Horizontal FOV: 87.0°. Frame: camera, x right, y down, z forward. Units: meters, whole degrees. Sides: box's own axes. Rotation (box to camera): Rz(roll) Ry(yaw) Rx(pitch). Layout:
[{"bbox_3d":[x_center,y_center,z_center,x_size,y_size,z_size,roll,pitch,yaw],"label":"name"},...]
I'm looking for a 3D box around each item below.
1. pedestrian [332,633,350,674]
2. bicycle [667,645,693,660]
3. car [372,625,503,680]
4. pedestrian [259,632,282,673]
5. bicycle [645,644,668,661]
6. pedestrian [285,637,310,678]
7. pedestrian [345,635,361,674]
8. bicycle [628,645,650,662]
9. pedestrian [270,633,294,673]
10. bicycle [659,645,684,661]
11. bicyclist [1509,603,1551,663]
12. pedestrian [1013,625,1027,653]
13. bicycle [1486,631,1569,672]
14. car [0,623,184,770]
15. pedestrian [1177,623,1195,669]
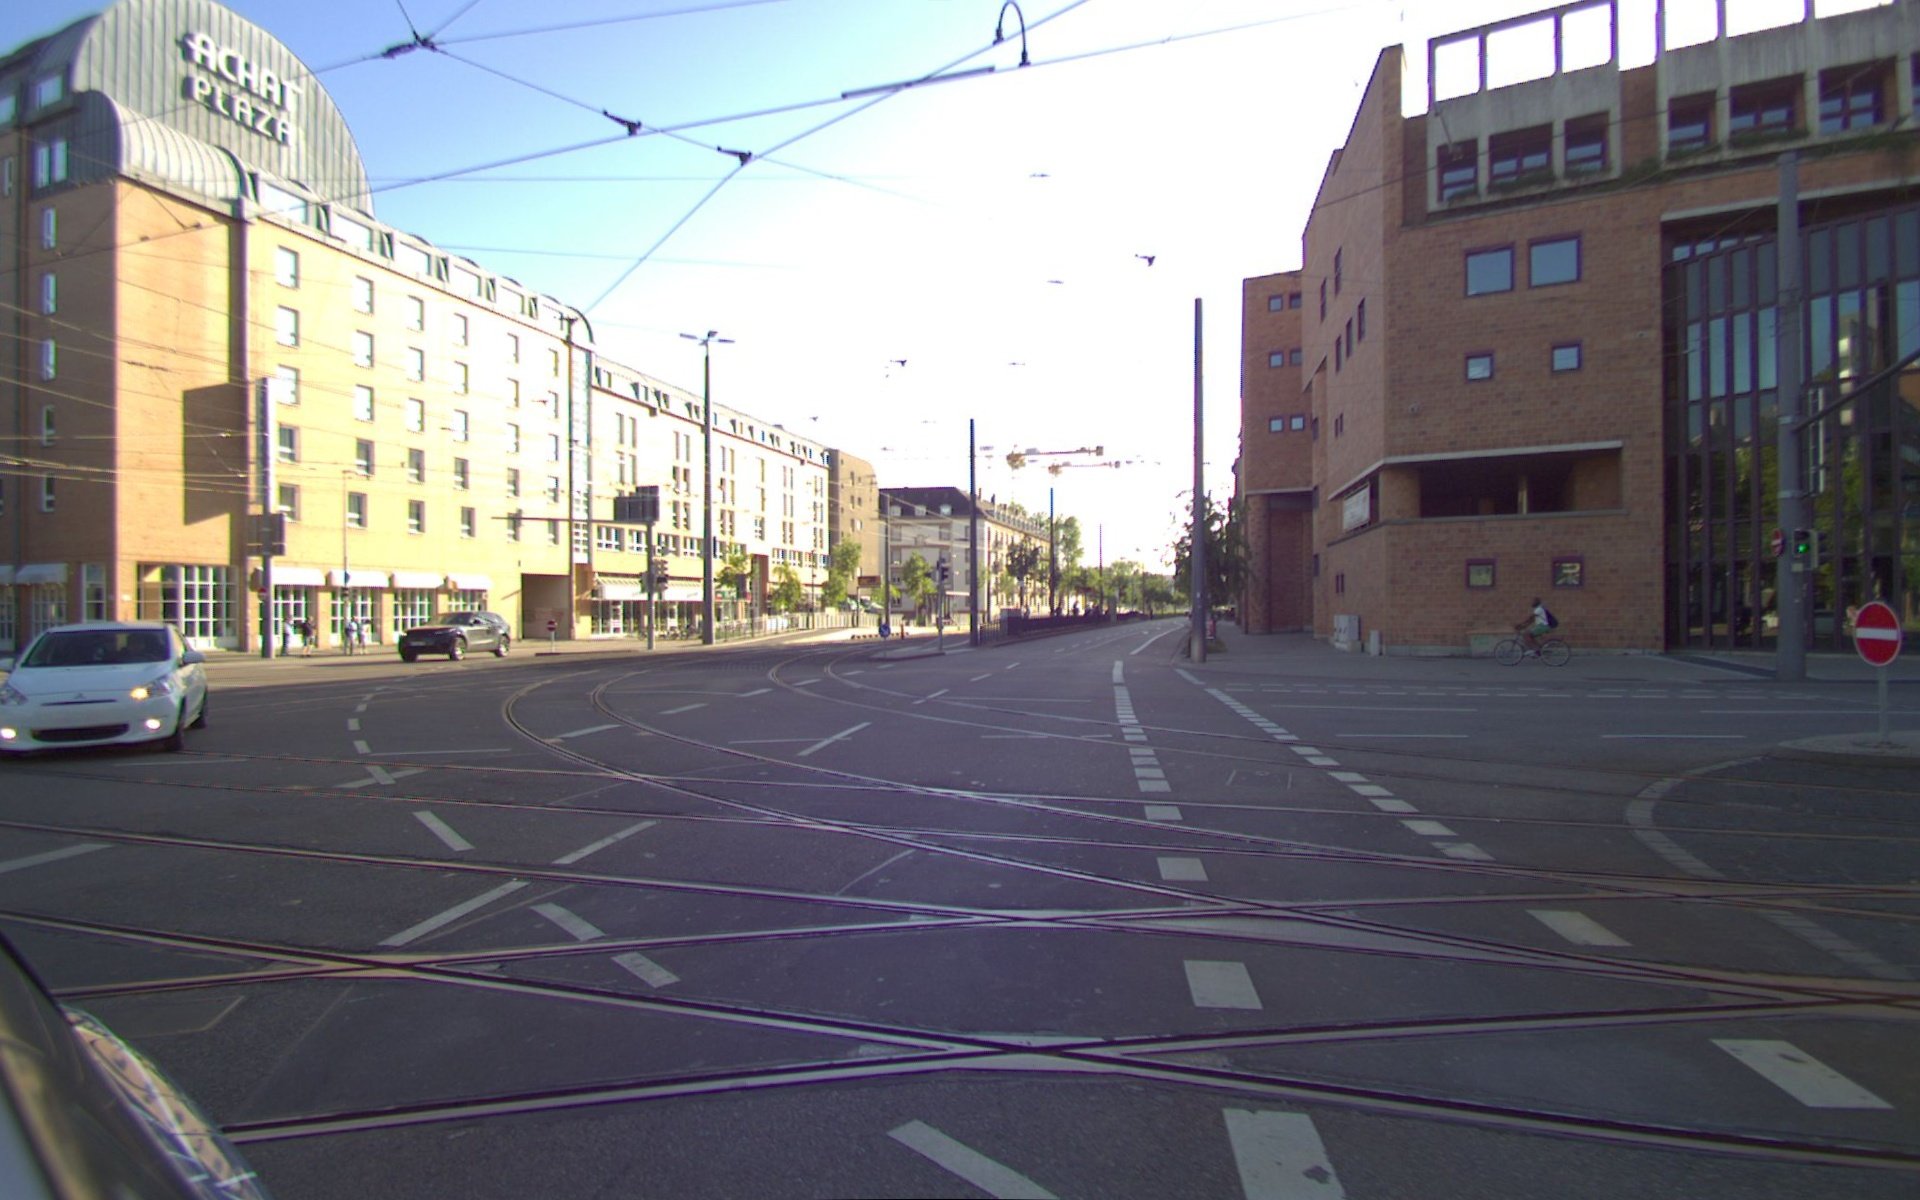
[{"bbox_3d":[-28.100,2.432,45.954,0.489,1.847,0.735,1,-1,-19],"label":"pedestrian"},{"bbox_3d":[-20.316,3.790,73.390,1.761,1.079,0.733,0,-1,19],"label":"bicycle"},{"bbox_3d":[-17.564,1.746,34.287,1.932,1.674,4.349,-2,-2,5],"label":"car"},{"bbox_3d":[-30.390,2.310,44.615,0.597,1.740,0.600,-3,-2,11],"label":"pedestrian"},{"bbox_3d":[-21.327,3.686,71.099,1.773,1.157,0.546,-1,-1,37],"label":"bicycle"},{"bbox_3d":[-28.913,2.498,44.186,0.687,1.781,0.571,-2,-3,12],"label":"pedestrian"},{"bbox_3d":[-28.179,2.516,46.988,0.570,1.788,0.406,2,-2,-40],"label":"pedestrian"},{"bbox_3d":[-22.193,3.680,69.925,1.773,1.157,0.546,-1,-1,37],"label":"bicycle"},{"bbox_3d":[-29.807,2.336,44.497,0.557,1.717,0.656,-3,-2,11],"label":"pedestrian"},{"bbox_3d":[-20.576,3.782,72.192,1.761,1.150,0.550,0,-1,19],"label":"bicycle"},{"bbox_3d":[15.506,0.893,27.551,0.924,1.602,0.679,-2,-2,32],"label":"bicyclist"},{"bbox_3d":[3.365,2.159,56.701,0.695,1.546,0.651,-1,-2,13],"label":"pedestrian"},{"bbox_3d":[15.435,1.409,27.561,1.914,1.088,0.610,-2,-2,33],"label":"bicycle"},{"bbox_3d":[-10.542,1.082,12.272,1.614,1.478,4.196,0,-3,-35],"label":"car"},{"bbox_3d":[8.258,1.671,36.965,0.503,1.629,0.504,-2,-2,5],"label":"pedestrian"}]
